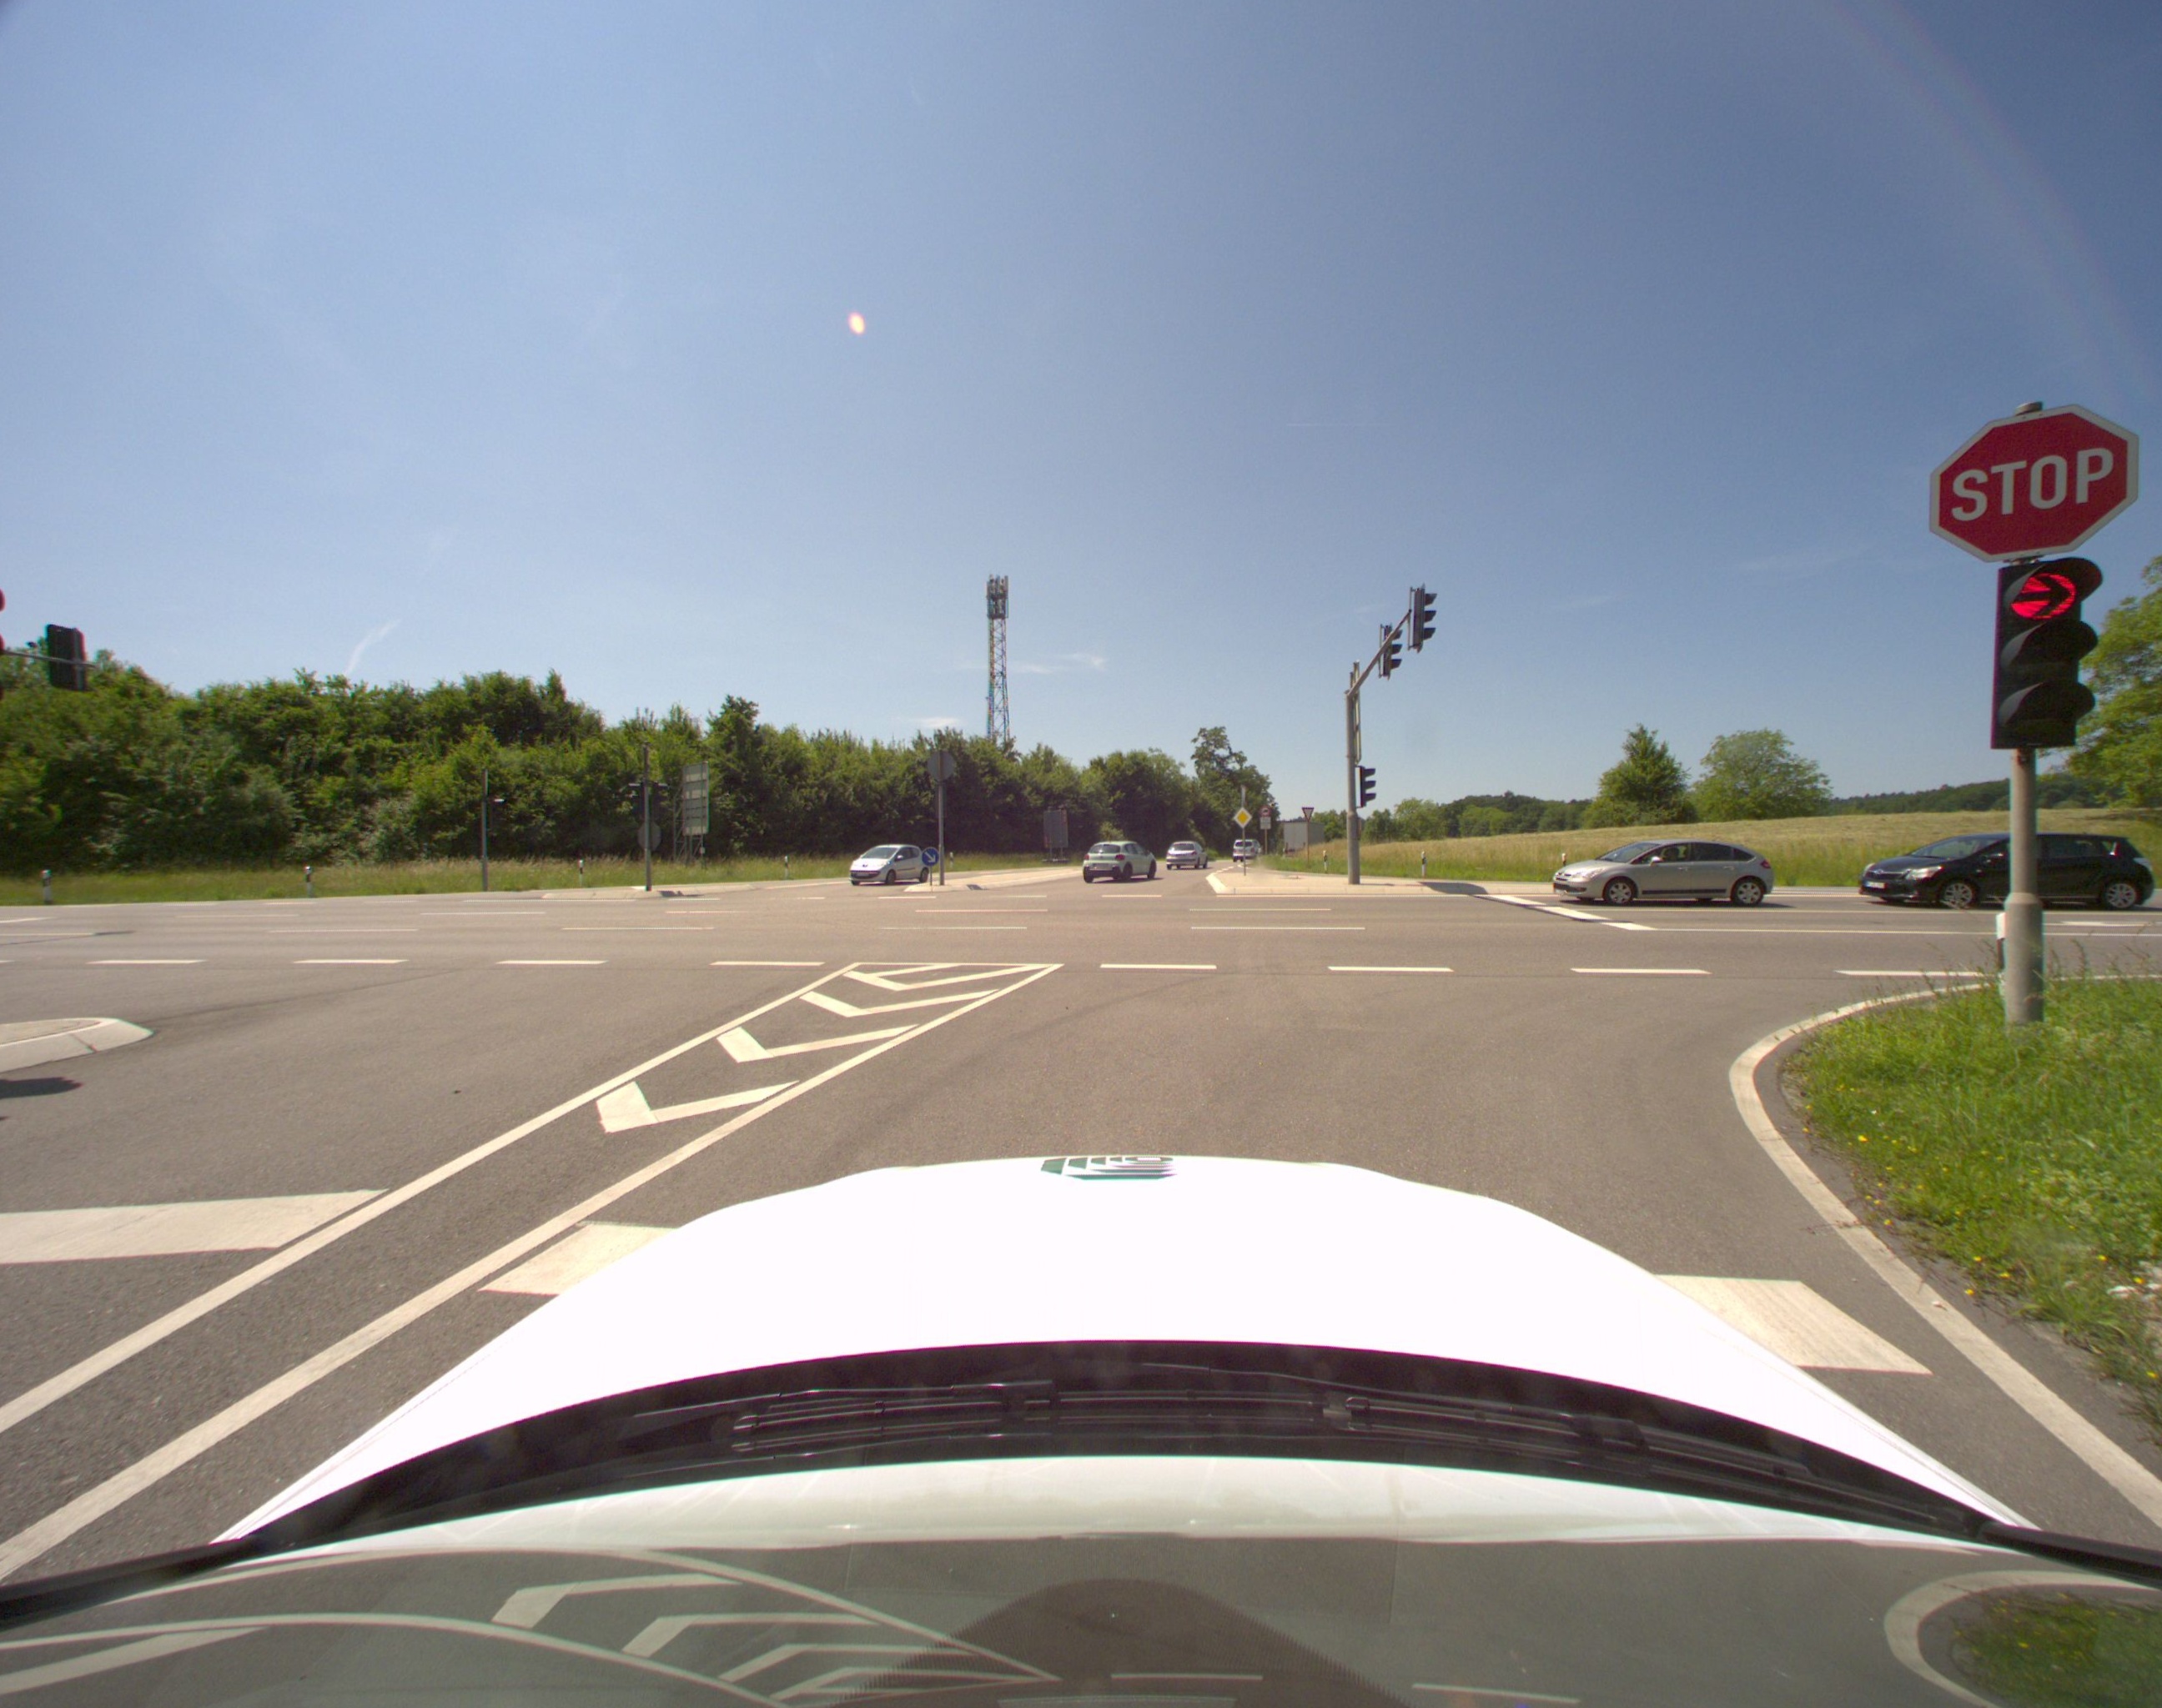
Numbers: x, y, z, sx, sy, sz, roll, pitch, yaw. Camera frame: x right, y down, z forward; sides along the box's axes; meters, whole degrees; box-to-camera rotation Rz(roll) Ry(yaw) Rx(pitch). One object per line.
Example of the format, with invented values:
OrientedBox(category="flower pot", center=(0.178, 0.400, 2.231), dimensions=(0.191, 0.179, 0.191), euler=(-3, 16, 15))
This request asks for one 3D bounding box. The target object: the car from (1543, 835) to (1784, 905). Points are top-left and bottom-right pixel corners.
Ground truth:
OrientedBox(category="car", center=(13.099, 0.326, 18.550), dimensions=(4.133, 1.469, 1.734), euler=(0, 2, 8))

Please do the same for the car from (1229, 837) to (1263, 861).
OrientedBox(category="car", center=(12.523, -0.390, 61.574), dimensions=(1.797, 1.624, 4.082), euler=(-1, 1, 22))

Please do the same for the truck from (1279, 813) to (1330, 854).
OrientedBox(category="truck", center=(25.614, -2.234, 92.641), dimensions=(3.097, 4.172, 16.781), euler=(-1, 0, 24))

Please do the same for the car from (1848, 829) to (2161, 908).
OrientedBox(category="car", center=(19.511, 0.271, 17.367), dimensions=(4.340, 1.553, 1.735), euler=(0, 2, 11))

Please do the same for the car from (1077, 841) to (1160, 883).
OrientedBox(category="car", center=(1.487, 0.237, 30.600), dimensions=(1.713, 1.404, 4.010), euler=(1, 2, 25))

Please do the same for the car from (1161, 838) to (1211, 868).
OrientedBox(category="car", center=(5.504, -0.066, 42.308), dimensions=(1.797, 1.413, 3.803), euler=(0, 2, 20))

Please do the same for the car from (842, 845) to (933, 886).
OrientedBox(category="car", center=(-7.113, 0.378, 30.291), dimensions=(1.552, 1.370, 3.549), euler=(0, 2, 20))
